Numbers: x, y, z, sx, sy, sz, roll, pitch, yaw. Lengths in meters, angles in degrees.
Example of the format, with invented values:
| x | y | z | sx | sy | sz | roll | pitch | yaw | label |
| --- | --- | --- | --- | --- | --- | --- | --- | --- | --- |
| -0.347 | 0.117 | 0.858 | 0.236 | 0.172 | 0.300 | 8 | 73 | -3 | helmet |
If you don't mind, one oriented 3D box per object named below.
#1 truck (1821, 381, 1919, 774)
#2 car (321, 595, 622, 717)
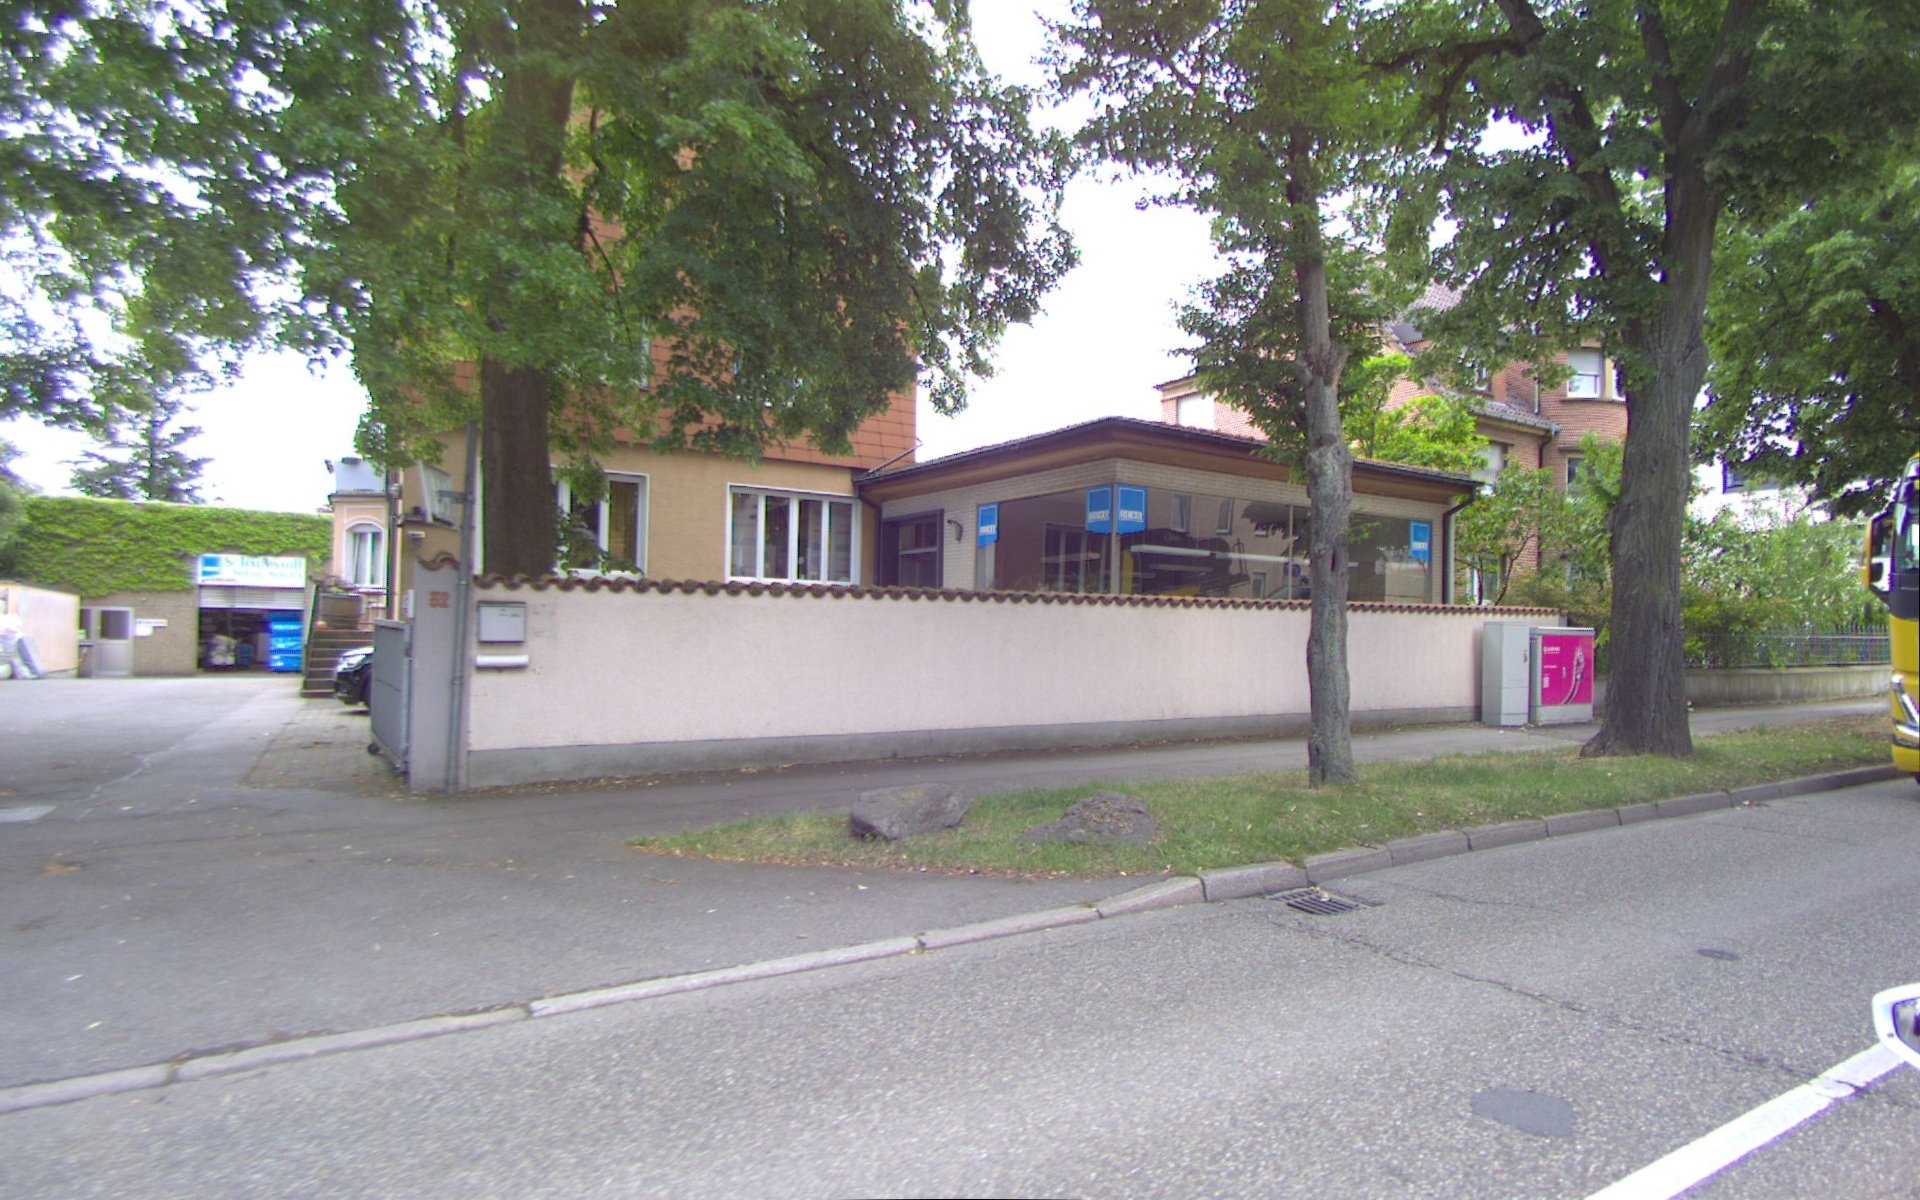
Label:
| x | y | z | sx | sy | sz | roll | pitch | yaw | label |
| --- | --- | --- | --- | --- | --- | --- | --- | --- | --- |
| 12.933 | -0.087 | 11.131 | 7.580 | 3.832 | 2.830 | 2 | -1 | -31 | truck |
| -7.478 | 0.827 | 15.531 | 3.956 | 1.661 | 1.771 | 2 | -1 | -32 | car |
